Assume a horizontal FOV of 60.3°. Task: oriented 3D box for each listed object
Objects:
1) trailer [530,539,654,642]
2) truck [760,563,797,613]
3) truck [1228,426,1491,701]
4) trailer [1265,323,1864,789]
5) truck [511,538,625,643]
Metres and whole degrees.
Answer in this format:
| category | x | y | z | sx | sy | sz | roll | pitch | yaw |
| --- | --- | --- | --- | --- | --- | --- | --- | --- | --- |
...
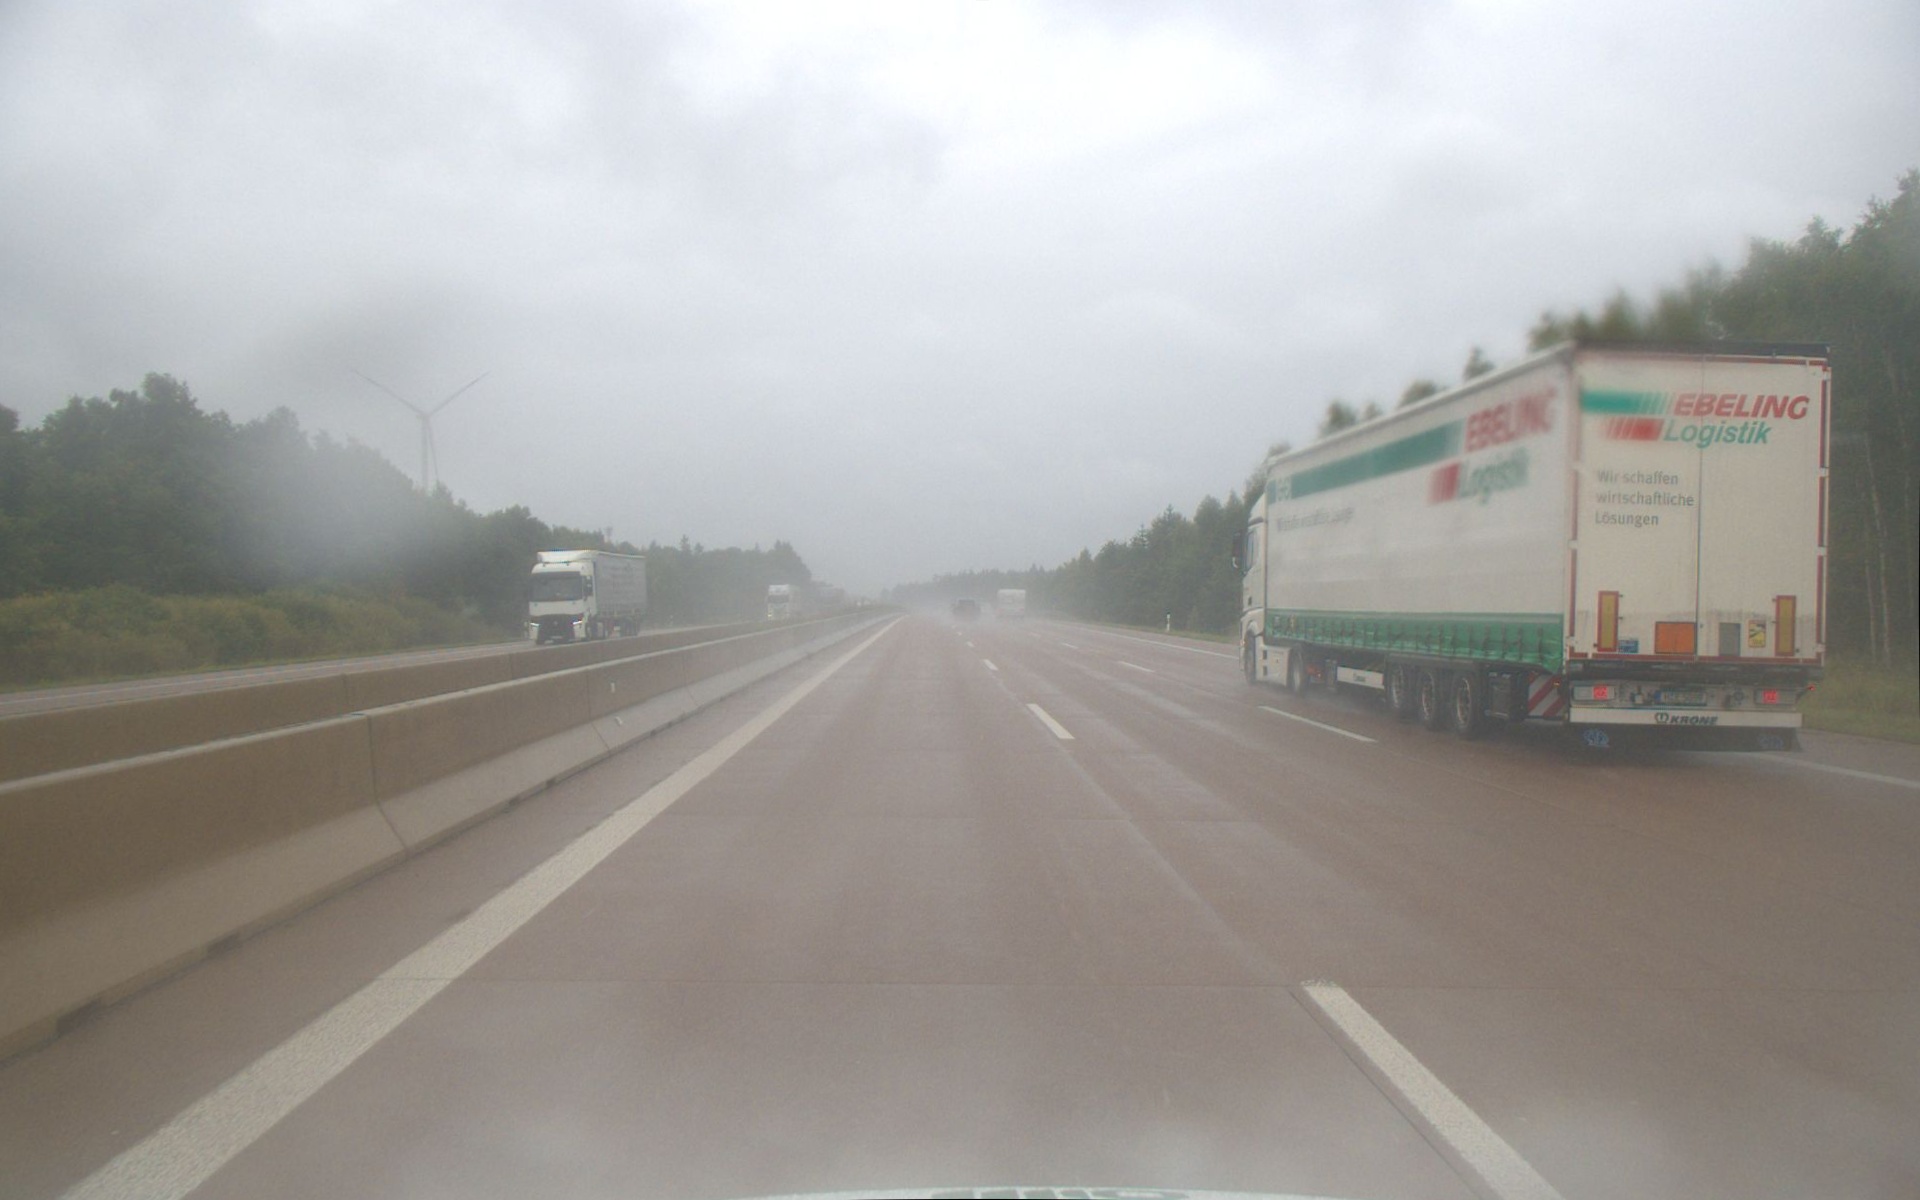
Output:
| category | x | y | z | sx | sy | sz | roll | pitch | yaw |
| --- | --- | --- | --- | --- | --- | --- | --- | --- | --- |
| trailer | -17.620 | -0.389 | 80.282 | 3.360 | 4.544 | 12.442 | 1 | 0 | -1 |
| truck | -20.407 | -1.307 | 186.414 | 3.350 | 5.473 | 8.155 | 1 | 0 | -2 |
| truck | 6.707 | -0.602 | 28.792 | 2.822 | 4.178 | 6.347 | -1 | 1 | -1 |
| trailer | 6.892 | -0.485 | 22.085 | 2.795 | 4.305 | 13.128 | -1 | 1 | -2 |
| truck | -17.504 | -0.386 | 74.514 | 3.350 | 4.436 | 7.944 | 1 | 0 | -2 |
